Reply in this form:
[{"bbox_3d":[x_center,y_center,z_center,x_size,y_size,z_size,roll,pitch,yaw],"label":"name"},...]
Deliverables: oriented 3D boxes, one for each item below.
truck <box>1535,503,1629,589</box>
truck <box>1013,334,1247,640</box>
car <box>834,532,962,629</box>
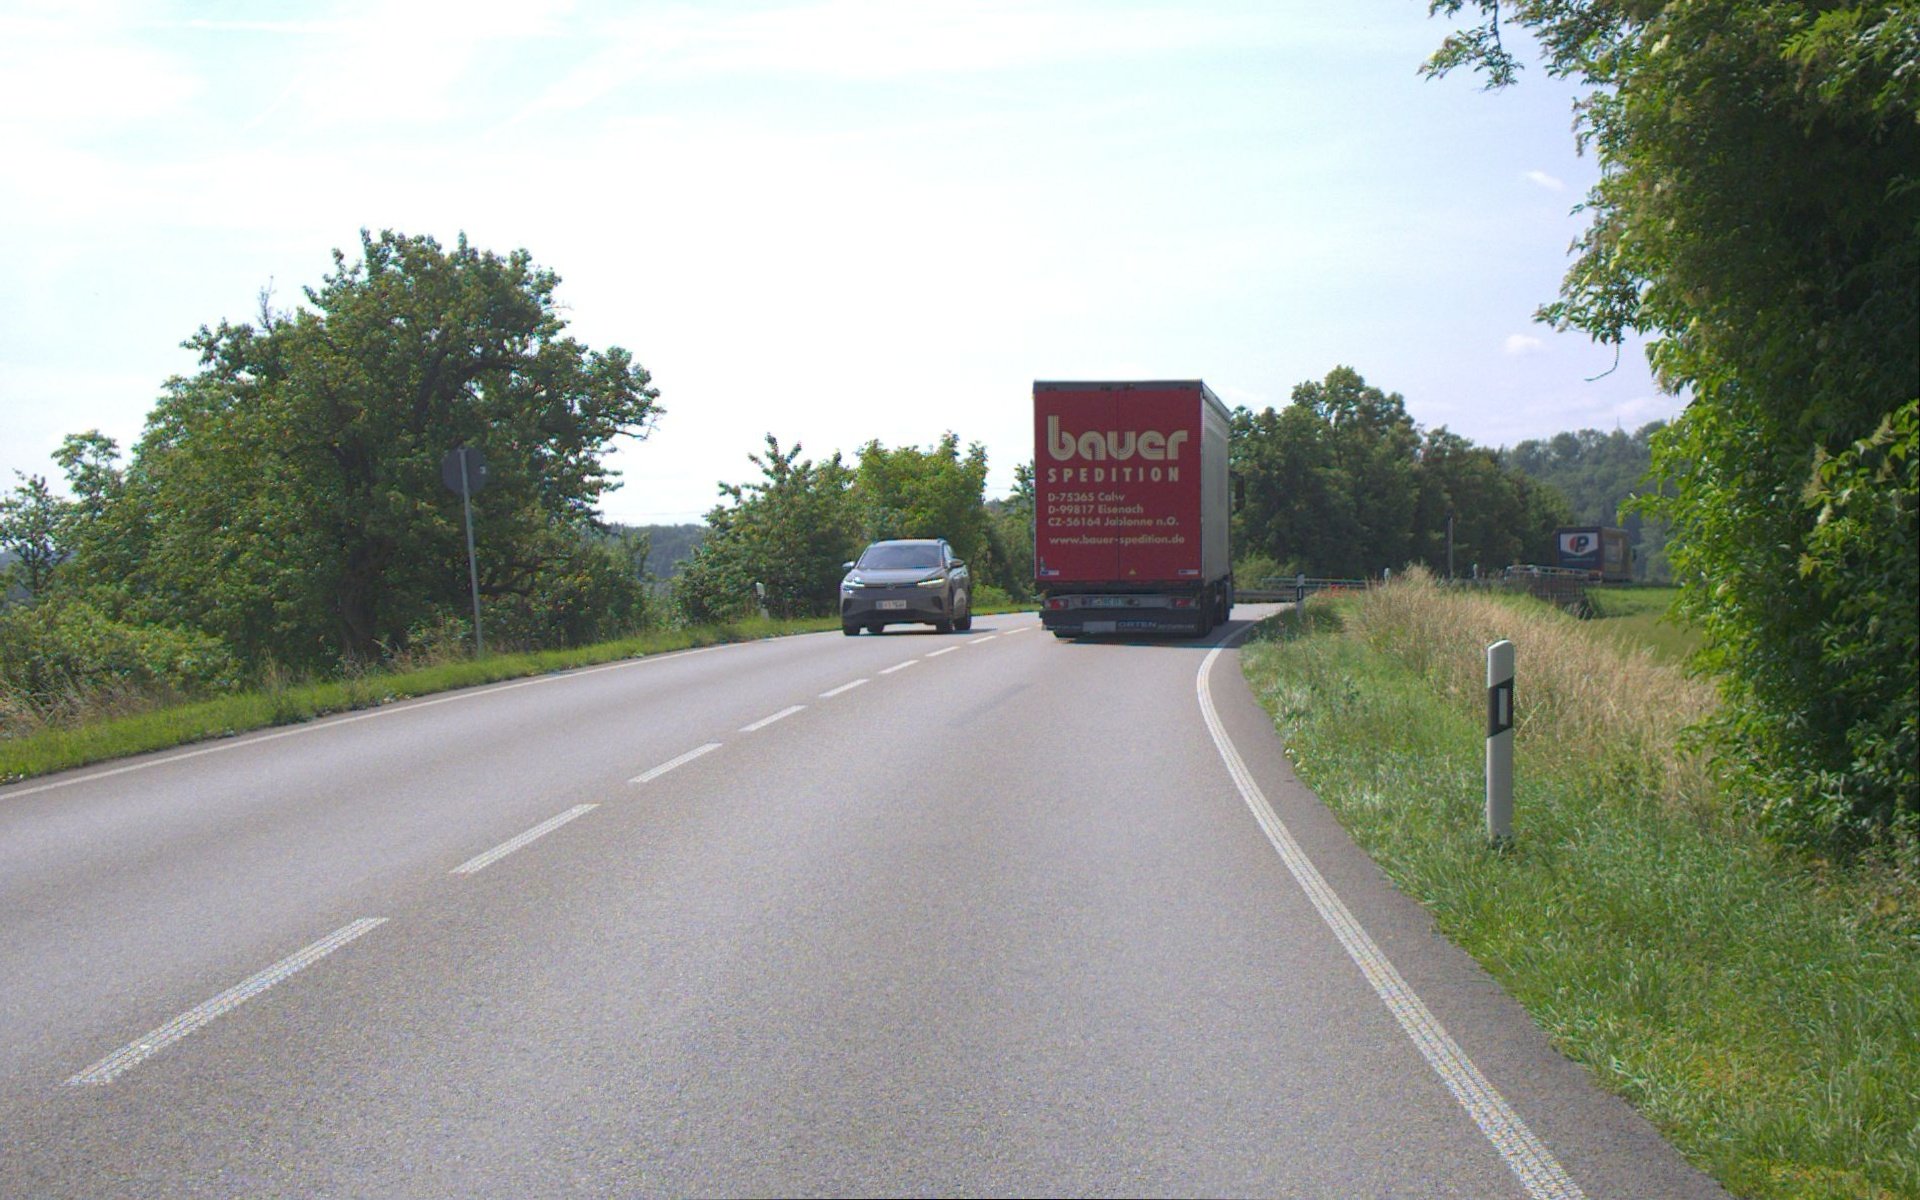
[{"bbox_3d":[36.408,-3.046,200.770,3.906,4.674,16.364,-2,-1,15],"label":"truck"},{"bbox_3d":[3.026,-1.672,57.020,3.113,4.490,12.164,1,0,6],"label":"truck"},{"bbox_3d":[-1.032,-0.355,59.536,1.879,1.587,4.491,-1,1,3],"label":"car"}]
